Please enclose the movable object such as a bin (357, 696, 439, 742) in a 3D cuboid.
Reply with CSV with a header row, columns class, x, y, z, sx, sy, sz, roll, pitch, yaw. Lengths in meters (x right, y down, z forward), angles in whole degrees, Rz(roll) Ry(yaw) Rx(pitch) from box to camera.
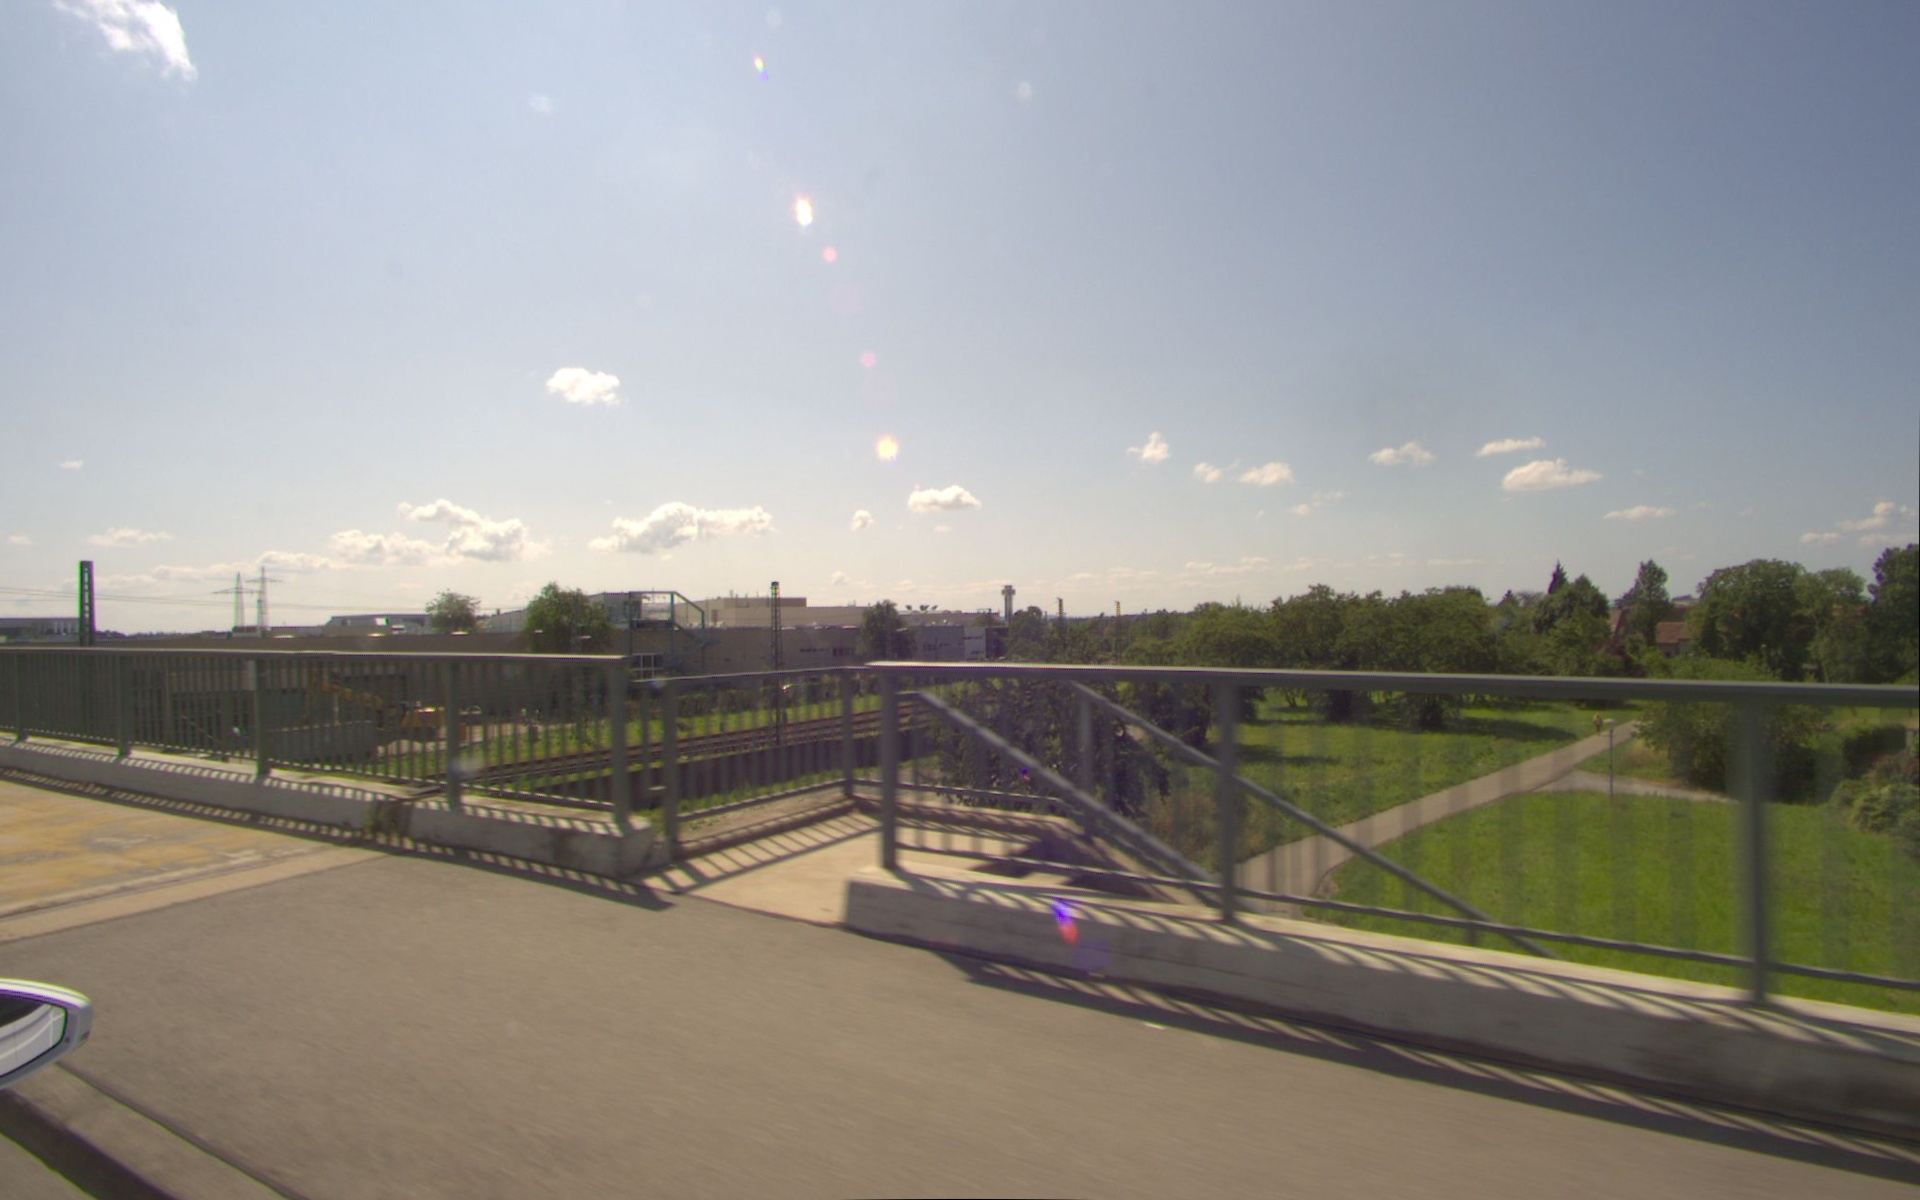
class,x,y,z,sx,sy,sz,roll,pitch,yaw
movable object such as a bin,-49.316,10.384,87.933,6.135,3.333,3.231,0,-1,-31
